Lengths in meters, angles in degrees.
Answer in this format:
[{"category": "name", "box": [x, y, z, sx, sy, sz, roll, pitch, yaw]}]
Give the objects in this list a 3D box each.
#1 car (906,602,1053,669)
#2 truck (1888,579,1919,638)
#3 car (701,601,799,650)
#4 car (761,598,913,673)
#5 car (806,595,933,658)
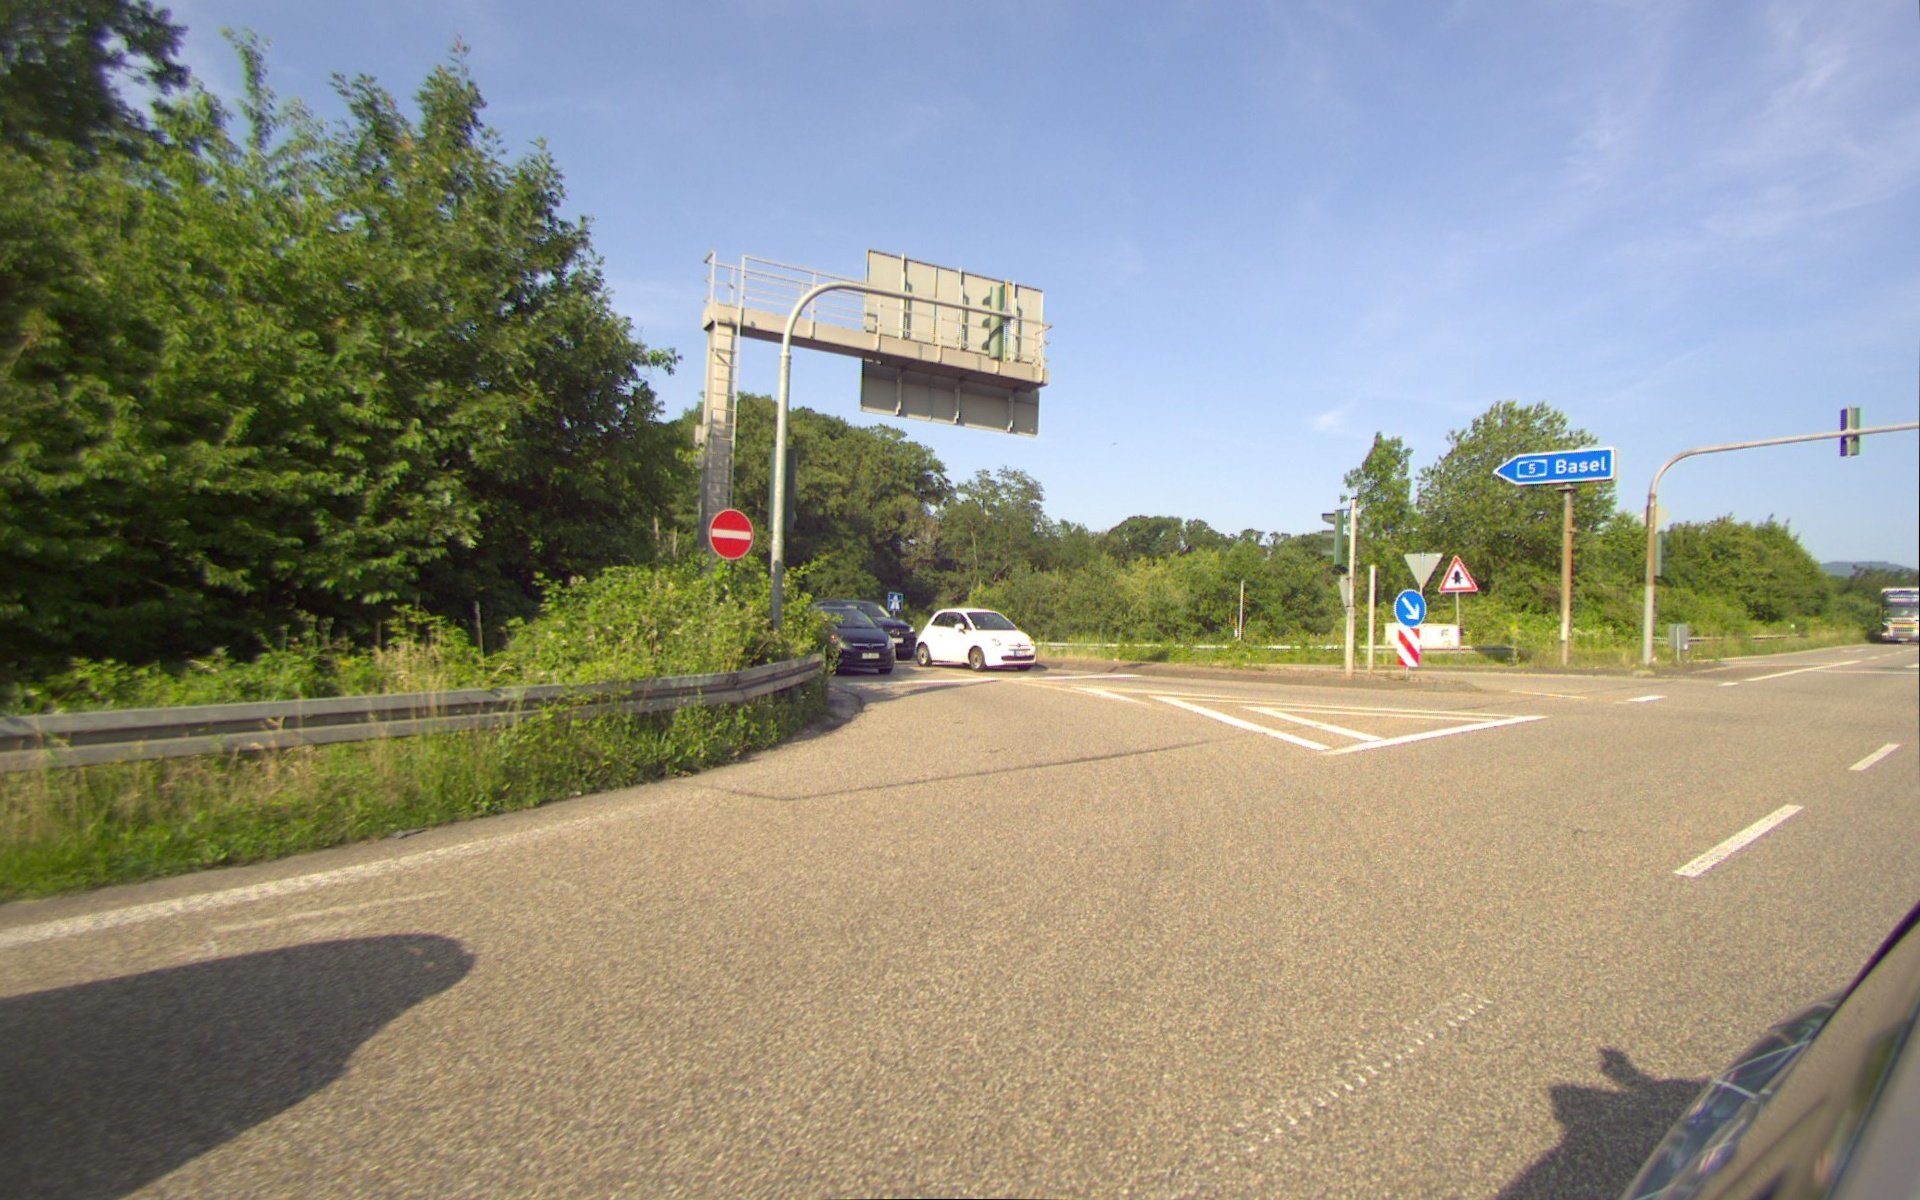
[{"category": "car", "box": [0.410, 0.825, 24.895, 1.775, 1.522, 3.607, 1, -1, -37]}, {"category": "truck", "box": [71.807, 0.678, 75.157, 14.318, 4.071, 3.191, 1, -2, -43]}, {"category": "car", "box": [-7.632, 0.880, 36.524, 1.835, 1.653, 4.120, 1, -1, -37]}, {"category": "car", "box": [-2.857, 0.739, 22.693, 1.750, 1.515, 4.124, 1, -1, -33]}, {"category": "car", "box": [-2.746, 0.765, 30.000, 1.835, 1.730, 4.120, 1, -1, -37]}]
